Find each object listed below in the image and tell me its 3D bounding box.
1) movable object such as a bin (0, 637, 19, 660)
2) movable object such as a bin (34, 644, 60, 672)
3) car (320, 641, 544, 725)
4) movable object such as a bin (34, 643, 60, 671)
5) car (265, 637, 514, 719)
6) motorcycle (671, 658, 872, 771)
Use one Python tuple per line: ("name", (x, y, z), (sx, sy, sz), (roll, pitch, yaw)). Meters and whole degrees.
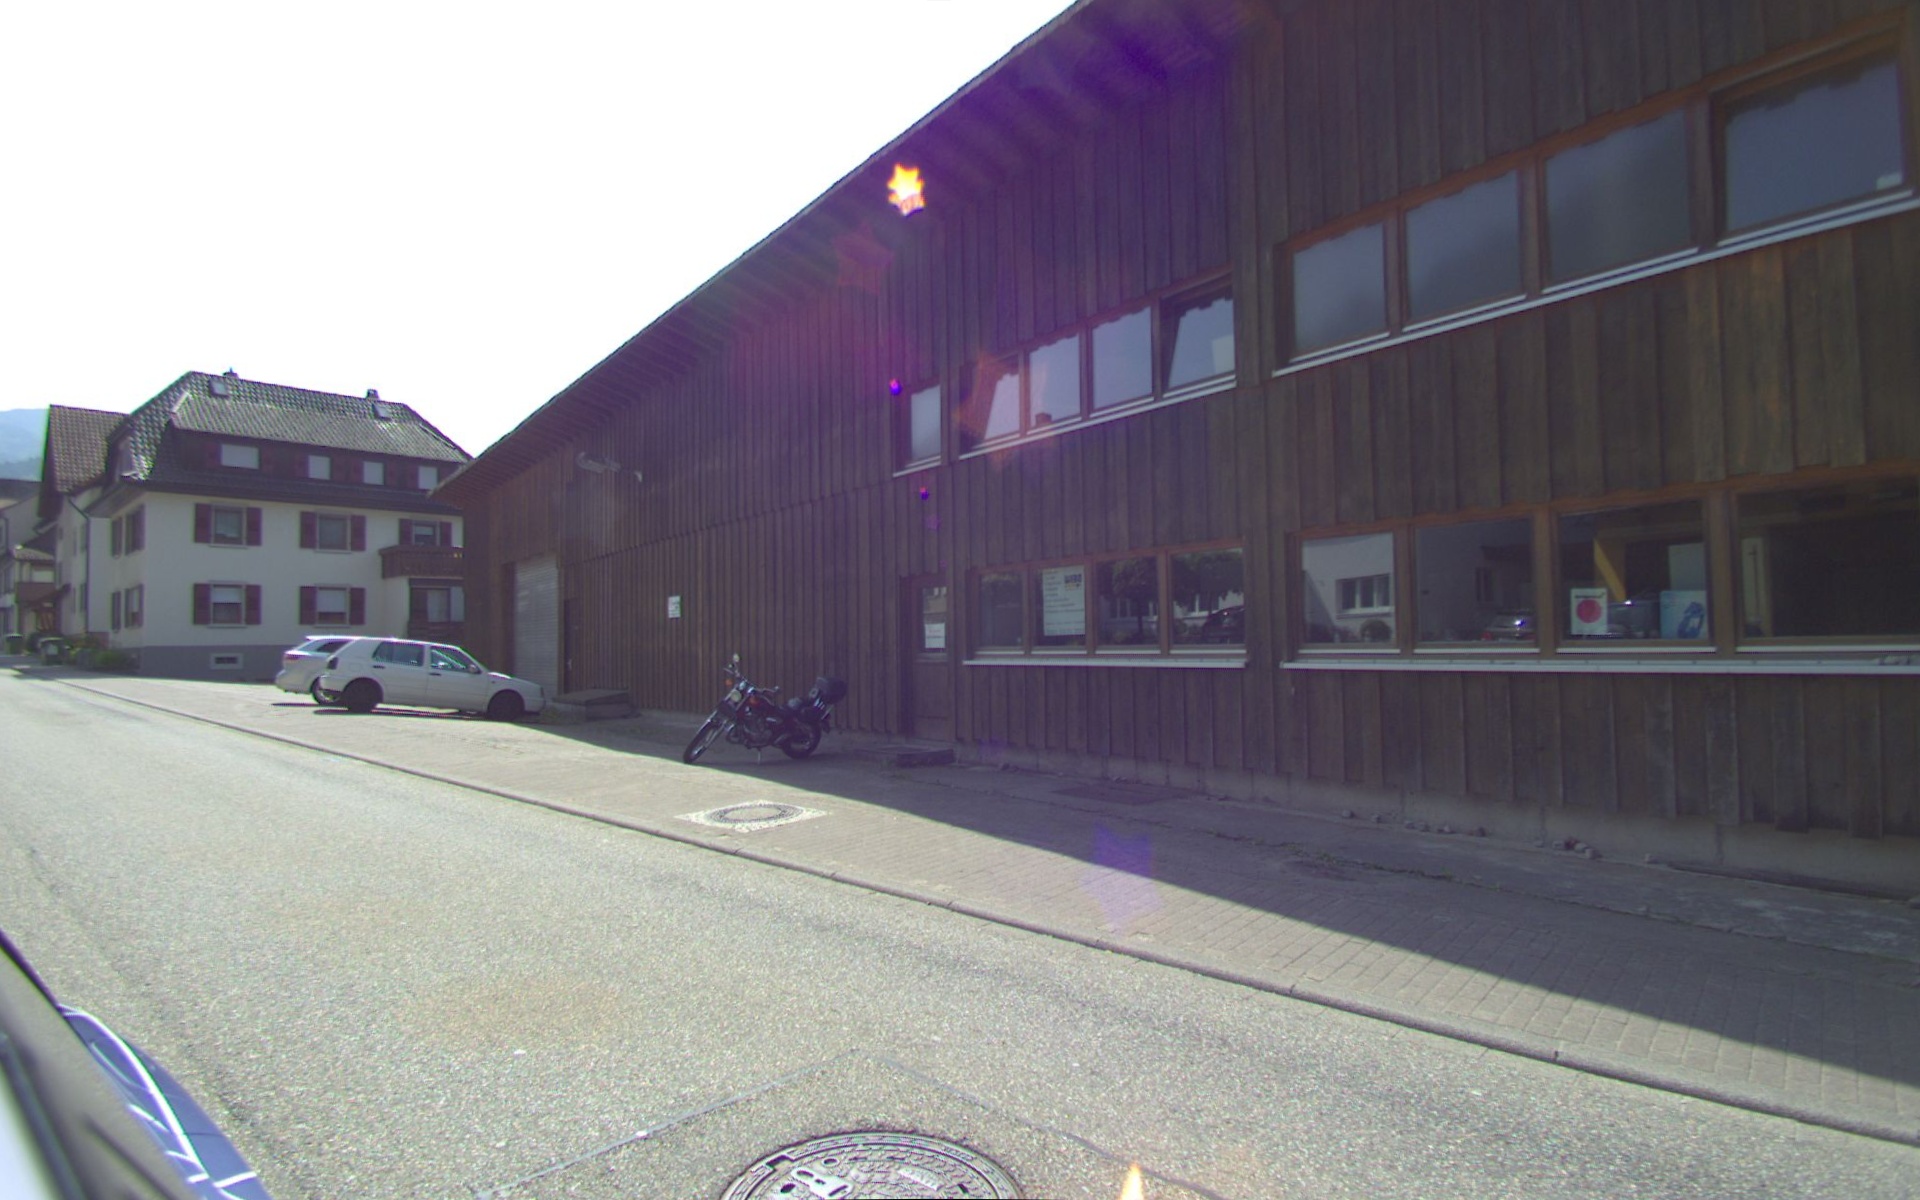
("movable object such as a bin", (-50.374, 2.558, 53.557), (0.598, 1.190, 0.710), (-2, -5, 43))
("movable object such as a bin", (-36.462, 2.306, 40.406), (0.653, 1.075, 0.669), (-2, -3, 40))
("car", (-10.243, 1.627, 19.696), (3.609, 1.396, 1.715), (6, -5, -33))
("movable object such as a bin", (-35.687, 2.240, 39.565), (0.621, 1.075, 0.669), (-2, -3, 40))
("car", (-12.120, 1.704, 21.885), (4.367, 1.486, 1.930), (5, -5, -22))
("motorcycle", (-2.308, 1.372, 12.642), (2.377, 1.274, 0.744), (3, -4, -38))
